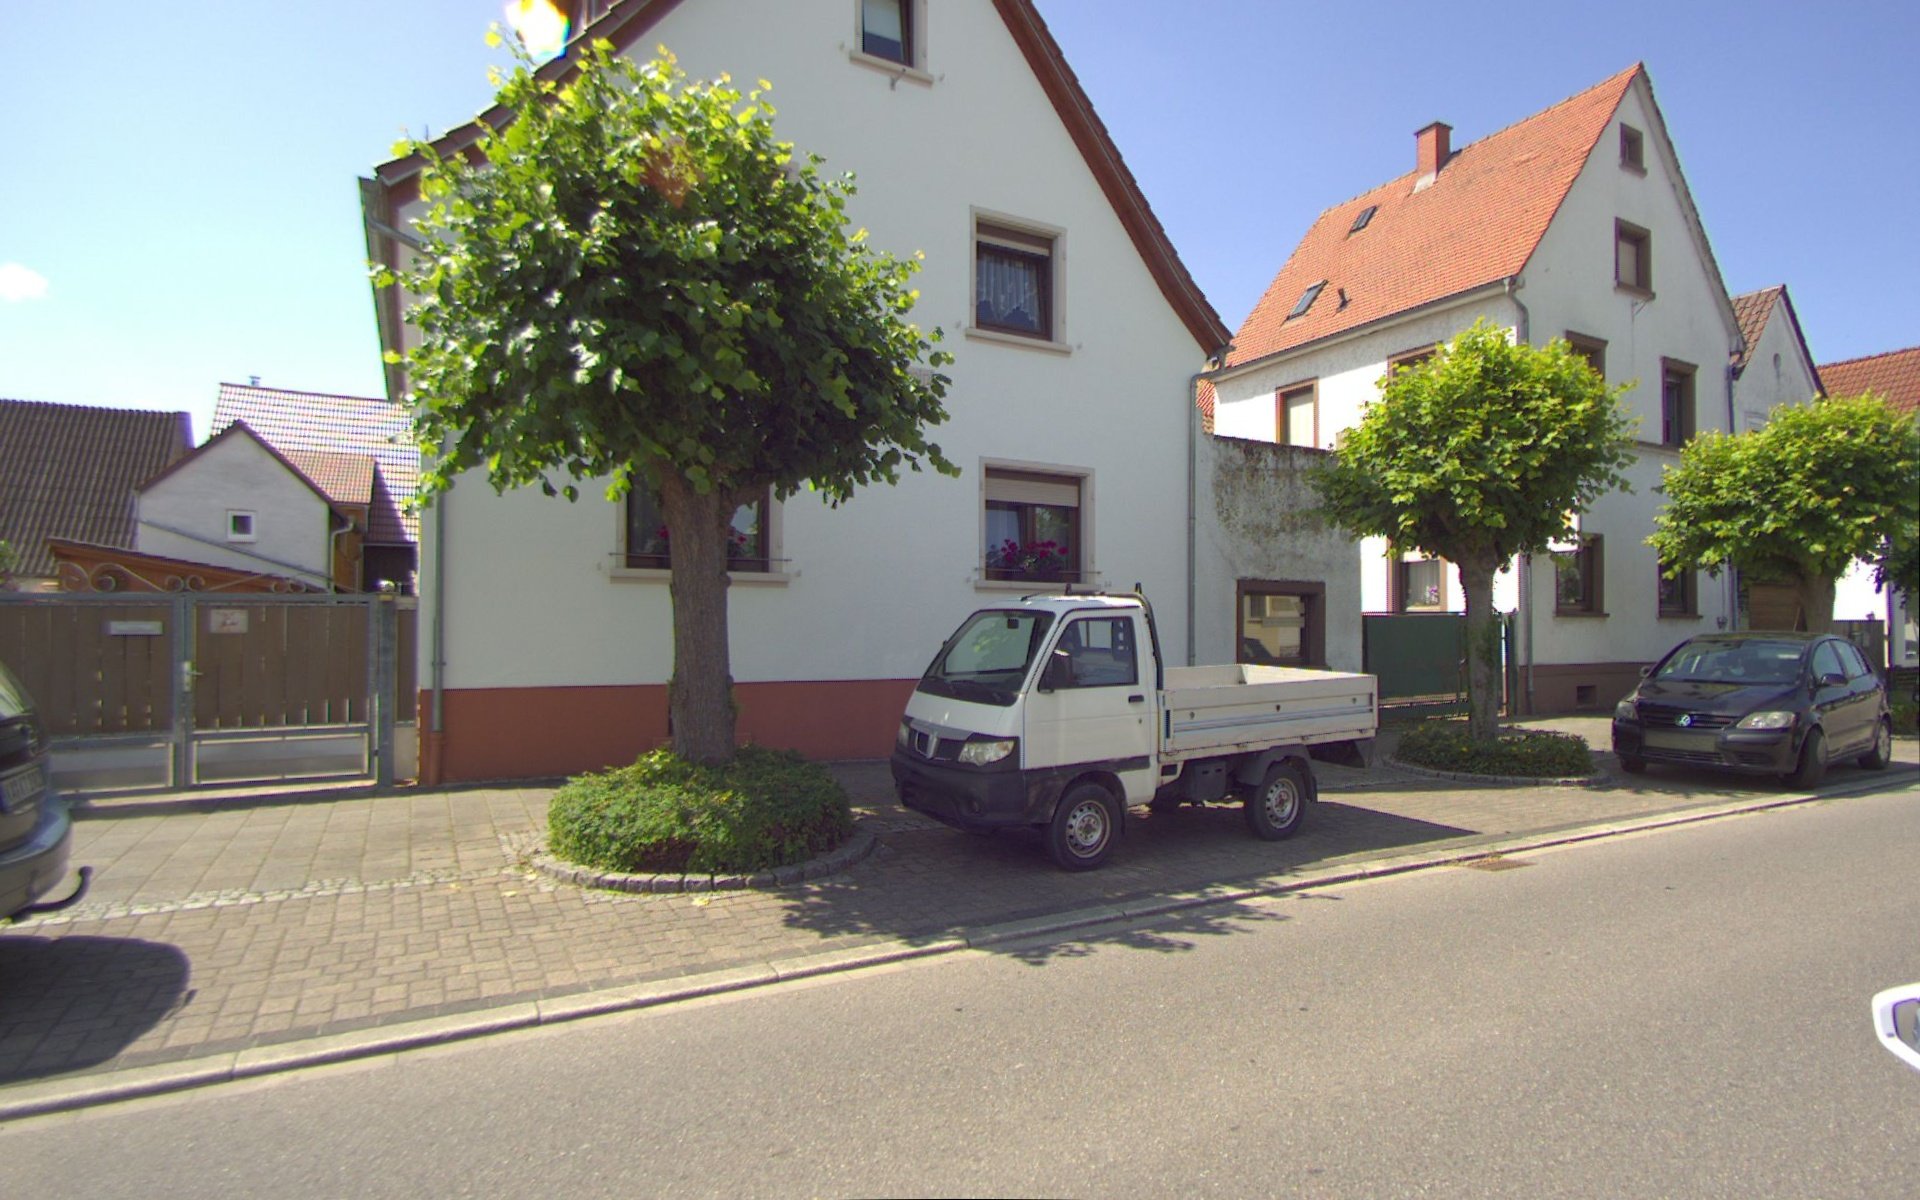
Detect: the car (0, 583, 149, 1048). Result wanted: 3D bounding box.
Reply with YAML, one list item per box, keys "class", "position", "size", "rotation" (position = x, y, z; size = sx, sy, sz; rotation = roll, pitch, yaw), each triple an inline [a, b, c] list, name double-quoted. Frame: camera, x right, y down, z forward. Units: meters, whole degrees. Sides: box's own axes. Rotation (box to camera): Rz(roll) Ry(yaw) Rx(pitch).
- class: "car"
  position: [-5.632, 0.699, 3.298]
  size: [4.319, 1.634, 1.844]
  rotation: [2, 0, -30]

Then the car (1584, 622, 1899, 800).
- class: "car"
  position: [8.921, 1.111, 11.382]
  size: [3.961, 1.655, 1.774]
  rotation: [2, -1, -36]

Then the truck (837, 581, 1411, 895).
- class: "truck"
  position: [1.318, 0.831, 7.459]
  size: [4.143, 1.789, 1.569]
  rotation: [2, 0, -30]

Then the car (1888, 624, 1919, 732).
- class: "car"
  position: [16.791, 1.270, 15.999]
  size: [4.009, 1.657, 1.844]
  rotation: [2, -1, -30]
